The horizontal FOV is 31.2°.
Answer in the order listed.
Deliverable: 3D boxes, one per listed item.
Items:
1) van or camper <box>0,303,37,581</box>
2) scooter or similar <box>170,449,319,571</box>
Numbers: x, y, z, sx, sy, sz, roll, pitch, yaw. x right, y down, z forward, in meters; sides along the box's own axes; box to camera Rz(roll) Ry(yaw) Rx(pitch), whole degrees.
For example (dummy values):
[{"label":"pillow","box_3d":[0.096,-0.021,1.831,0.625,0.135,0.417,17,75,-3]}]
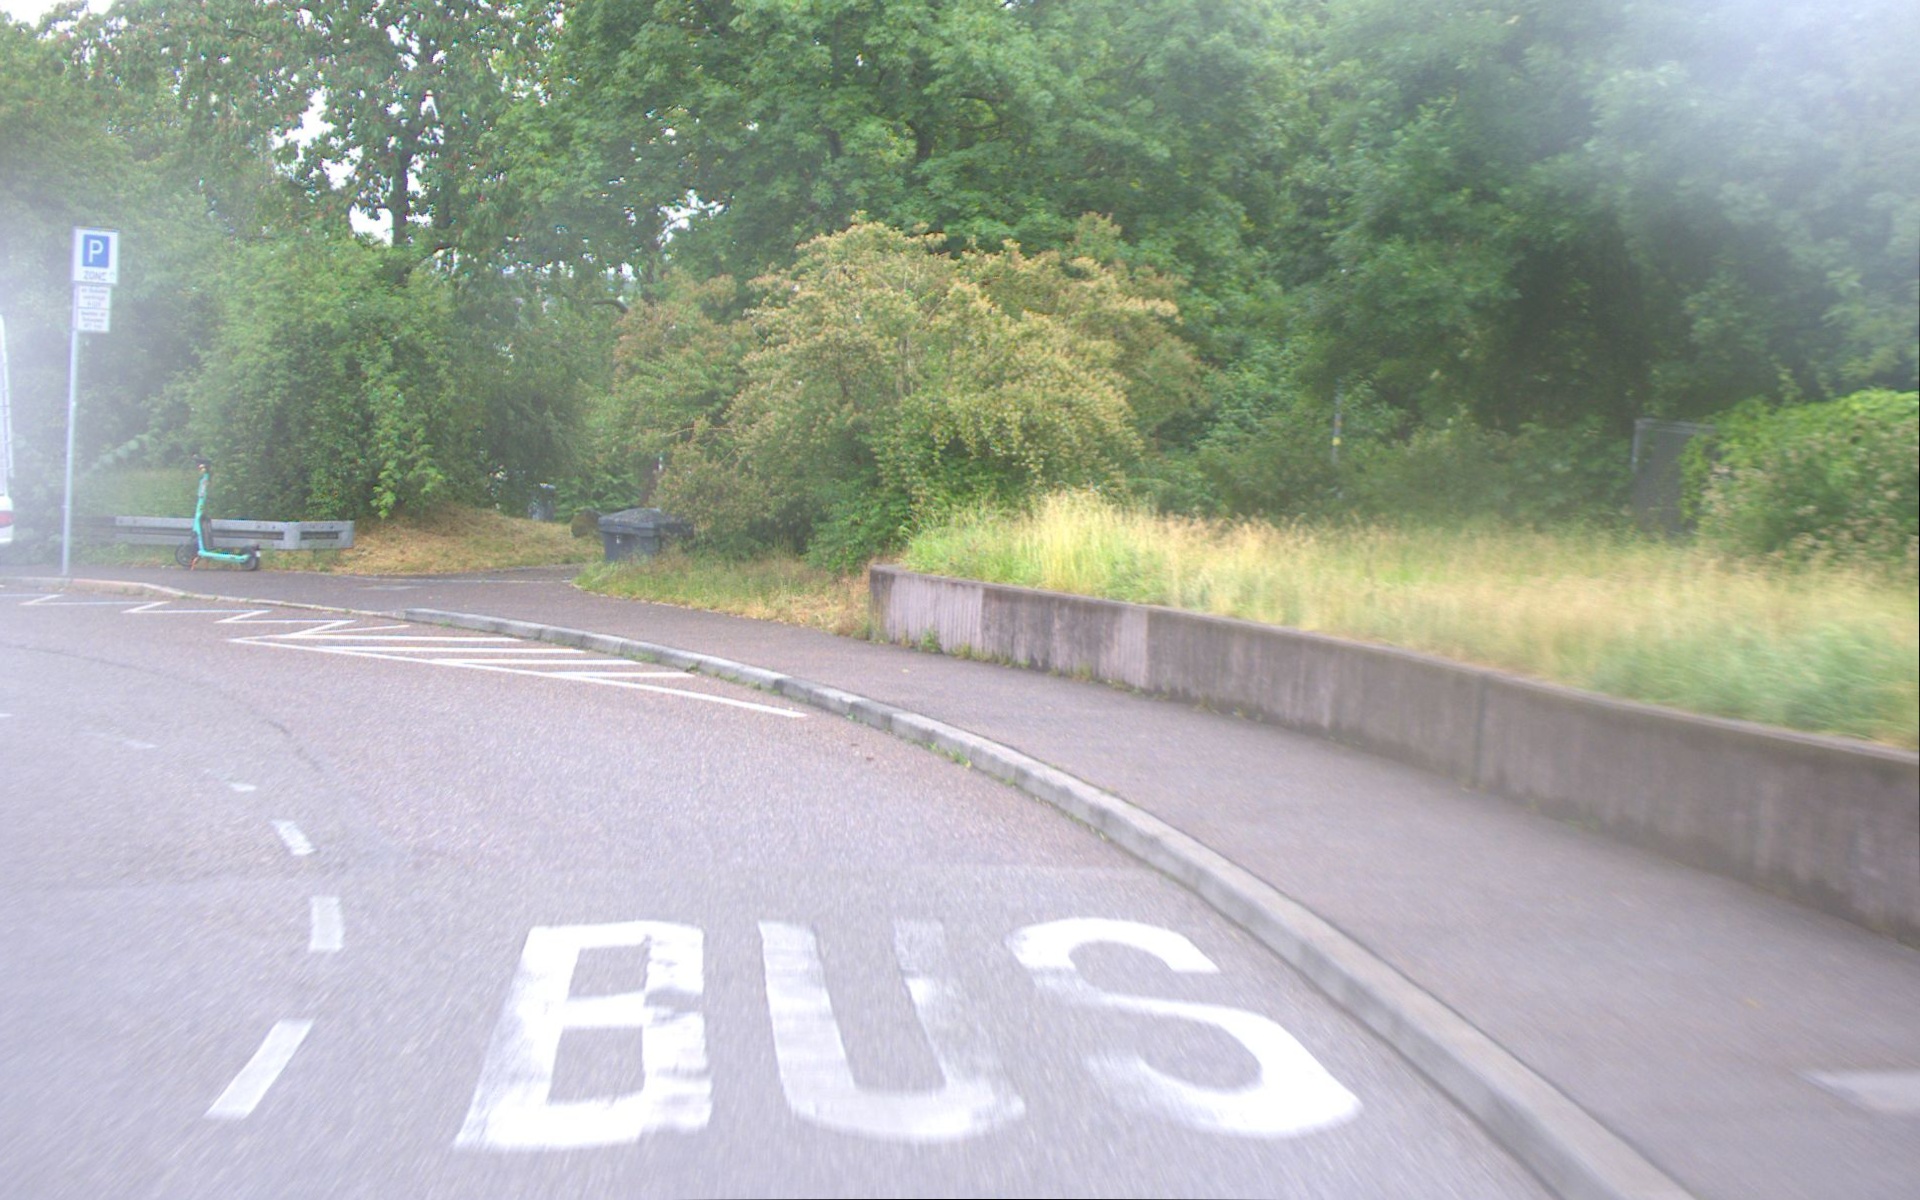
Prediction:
[{"label":"van or camper","box_3d":[-13.286,-1.717,37.596,6.272,2.933,2.394,3,7,32]},{"label":"scooter or similar","box_3d":[-7.720,-0.978,37.077,1.707,1.278,0.451,1,4,32]}]
